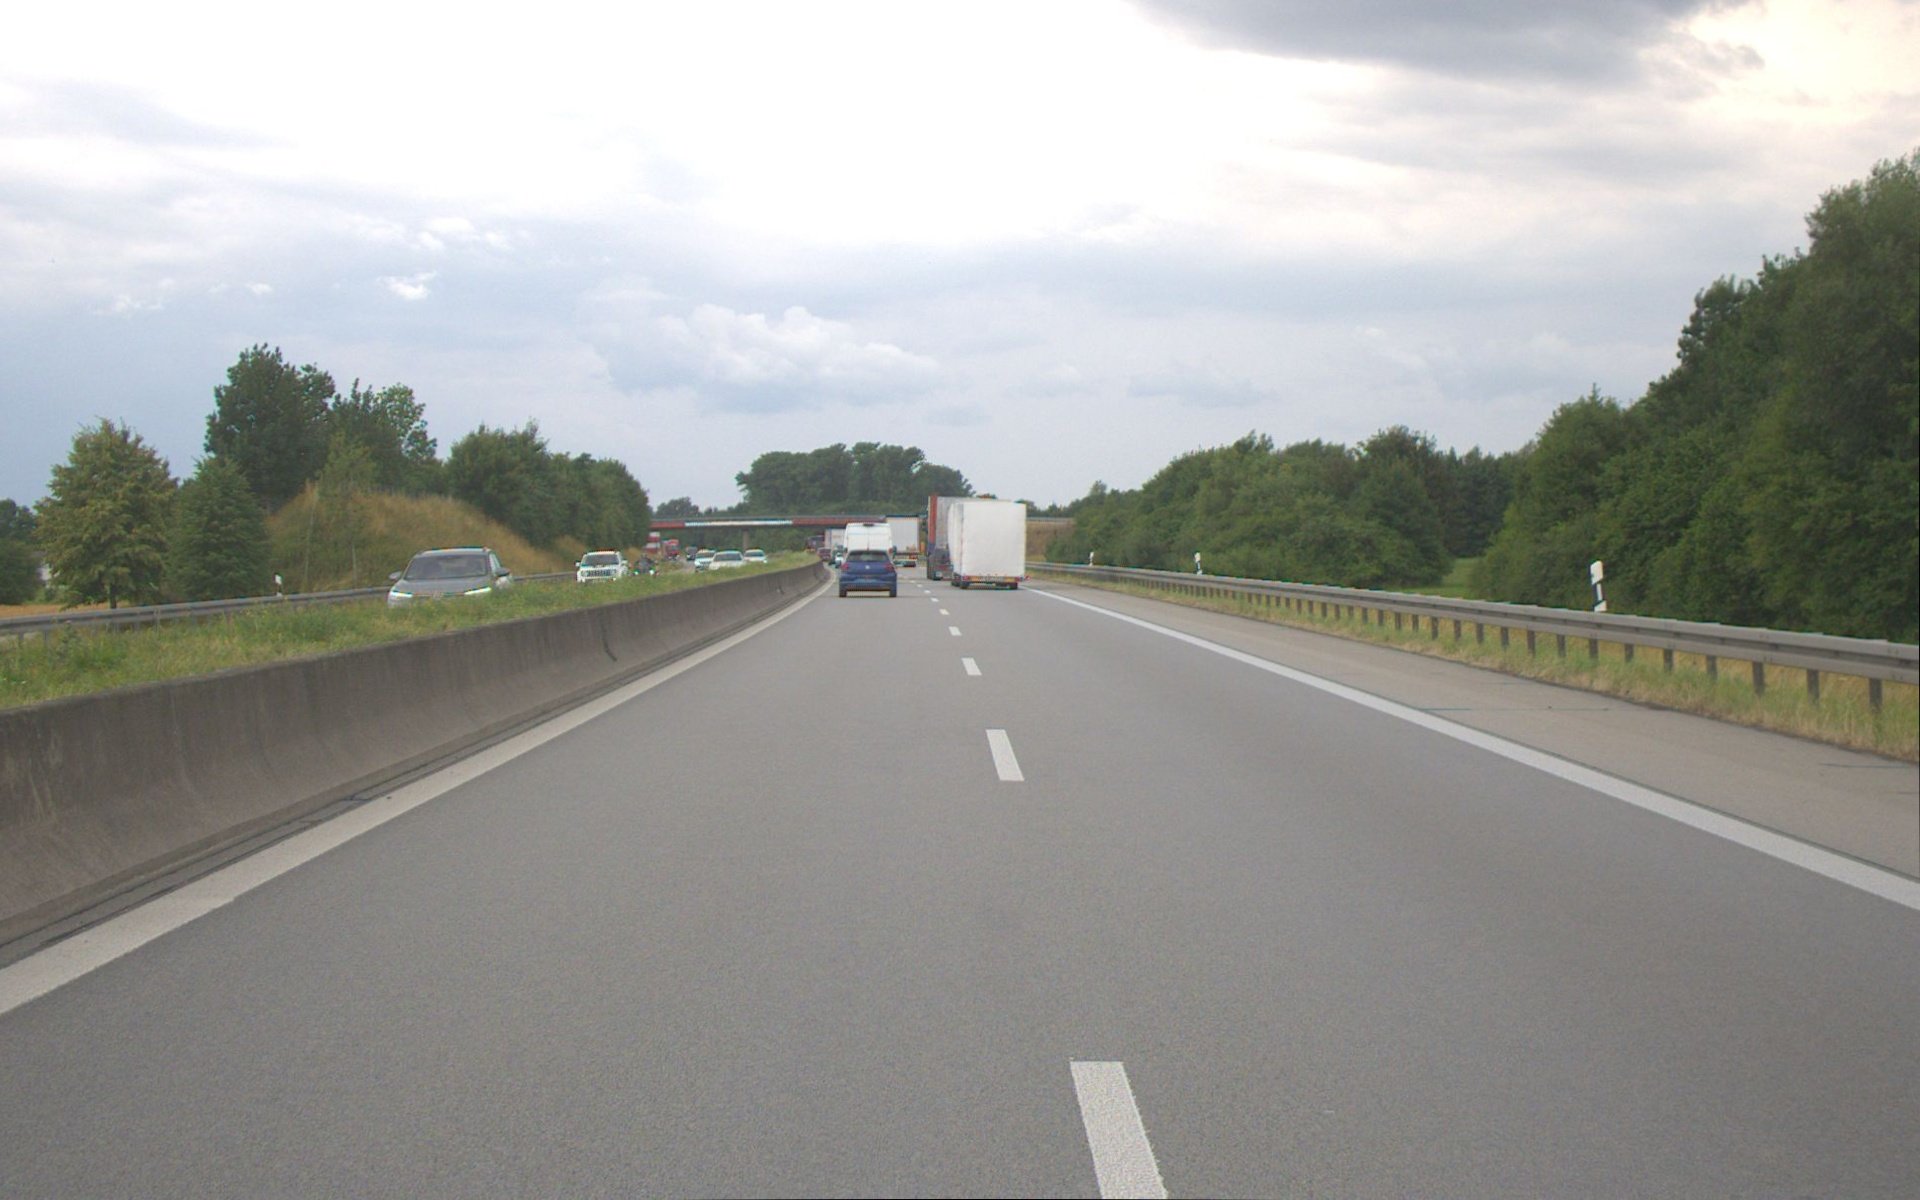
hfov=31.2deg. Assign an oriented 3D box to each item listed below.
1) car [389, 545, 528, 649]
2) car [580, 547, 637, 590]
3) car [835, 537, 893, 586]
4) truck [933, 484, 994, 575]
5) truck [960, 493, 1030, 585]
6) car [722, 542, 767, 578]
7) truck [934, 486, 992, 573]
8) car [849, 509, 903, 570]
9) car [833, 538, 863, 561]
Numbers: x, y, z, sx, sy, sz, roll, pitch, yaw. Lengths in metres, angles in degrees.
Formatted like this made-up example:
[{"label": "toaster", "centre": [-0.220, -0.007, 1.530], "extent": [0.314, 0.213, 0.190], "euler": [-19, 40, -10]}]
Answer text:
[{"label": "car", "centre": [-8.778, -0.076, 60.480], "extent": [1.841, 1.688, 4.358], "euler": [-2, 1, -1]}, {"label": "car", "centre": [-13.886, -1.260, 136.033], "extent": [1.836, 1.621, 4.691], "euler": [-2, 1, -1]}, {"label": "car", "centre": [-2.851, -1.148, 101.619], "extent": [1.663, 1.402, 3.649], "euler": [0, 1, -2]}, {"label": "truck", "centre": [0.136, -3.268, 159.714], "extent": [2.673, 4.032, 11.108], "euler": [-1, 1, 0]}, {"label": "truck", "centre": [1.215, -2.160, 122.841], "extent": [2.415, 3.211, 7.144], "euler": [0, 1, 0]}, {"label": "car", "centre": [-10.728, -2.001, 171.185], "extent": [1.947, 1.688, 5.175], "euler": [-2, 1, -1]}, {"label": "truck", "centre": [0.124, -3.390, 165.132], "extent": [2.673, 4.032, 5.513], "euler": [-1, 1, 0]}, {"label": "car", "centre": [-3.486, -2.498, 142.638], "extent": [2.130, 2.474, 5.840], "euler": [-1, 1, -1]}, {"label": "car", "centre": [-8.208, -3.706, 251.577], "extent": [1.993, 1.678, 4.001], "euler": [0, 1, -5]}]
